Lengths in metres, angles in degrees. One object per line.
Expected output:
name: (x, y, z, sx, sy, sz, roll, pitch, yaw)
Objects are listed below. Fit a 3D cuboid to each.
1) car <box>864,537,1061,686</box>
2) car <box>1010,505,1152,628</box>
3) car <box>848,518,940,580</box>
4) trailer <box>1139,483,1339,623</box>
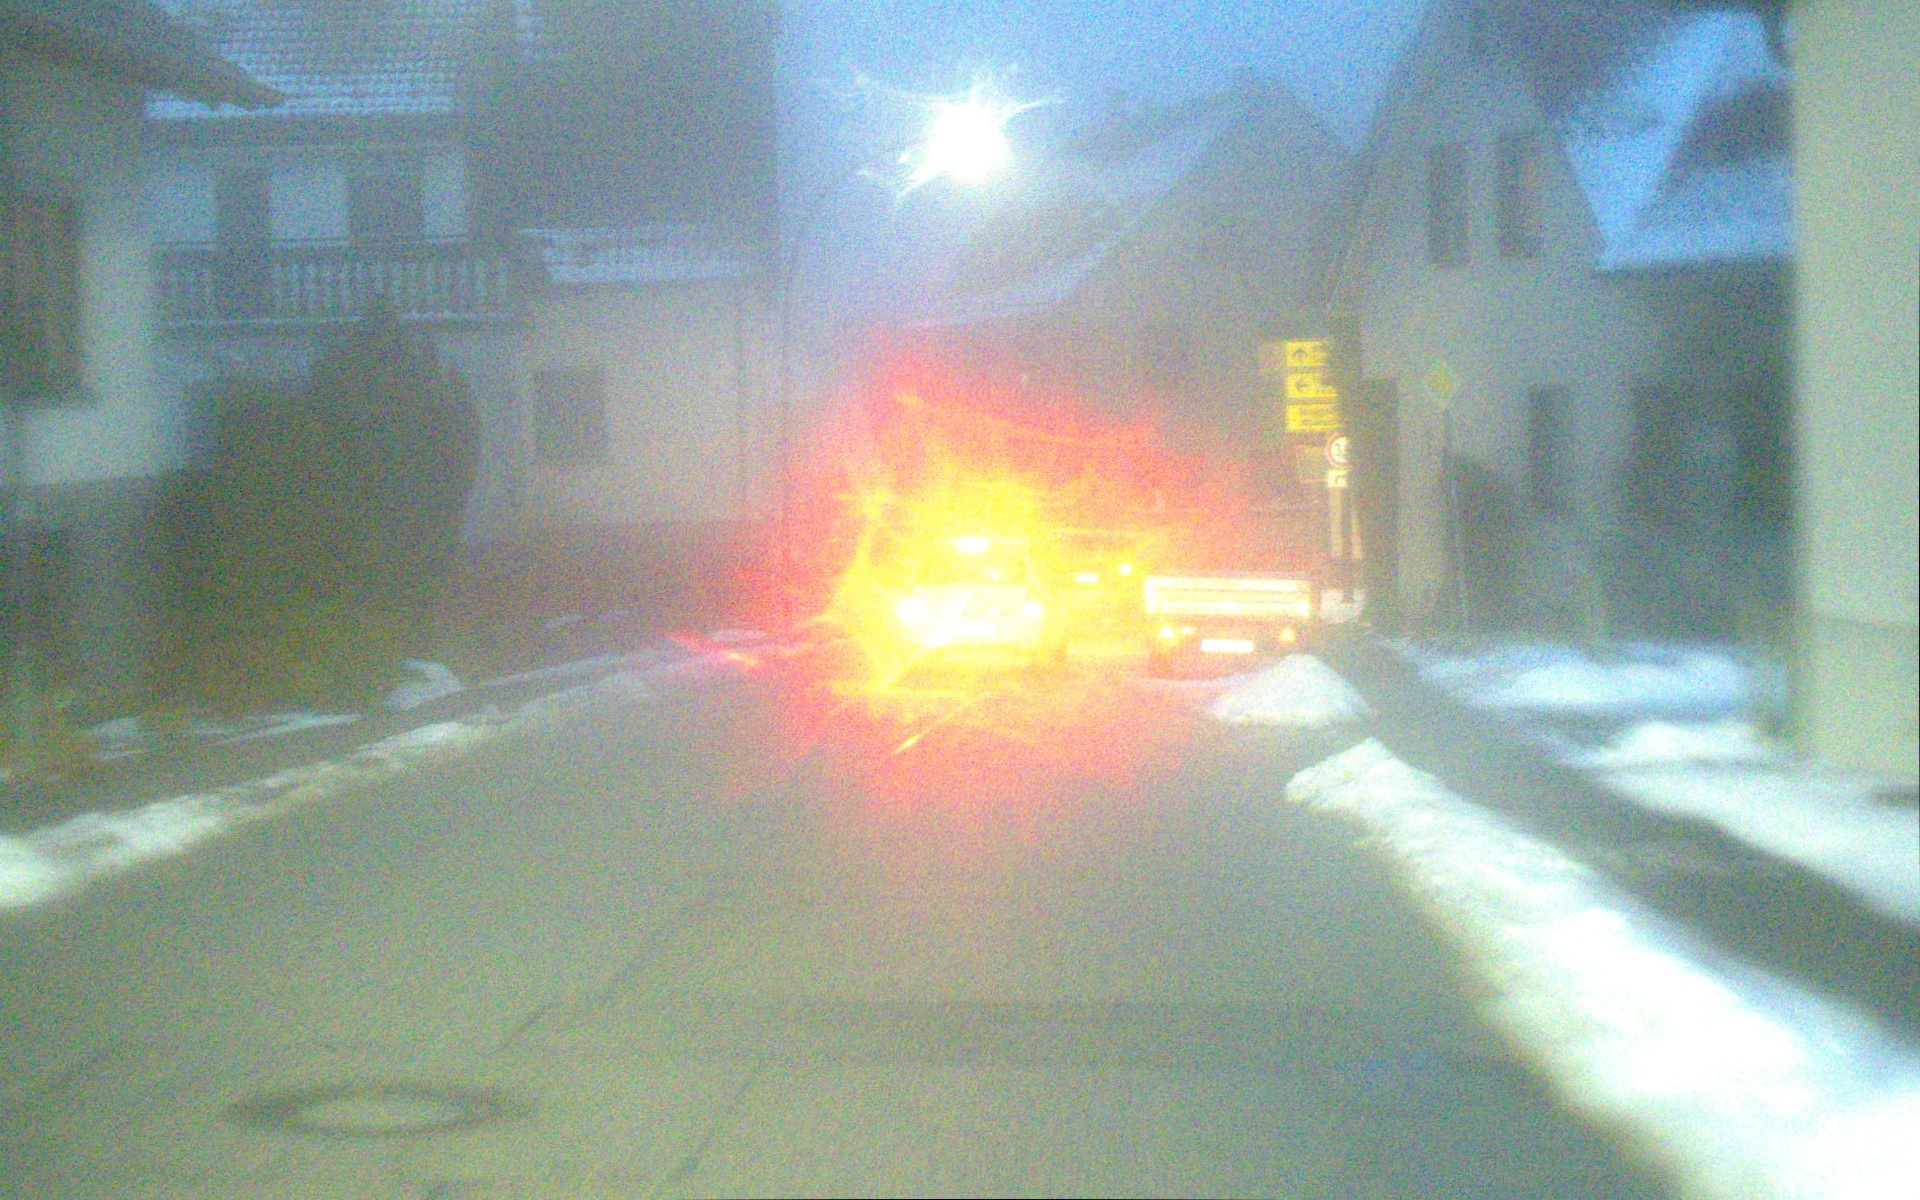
car: (0.085, 0.107, 37.181, 1.993, 1.503, 4.000, 1, 0, 2)
car: (1.755, -0.489, 50.748, 1.993, 1.722, 4.000, 1, 0, 1)
car: (-1.701, -1.318, 87.328, 1.910, 1.476, 4.283, -2, 2, -6)
trailer: (3.041, -0.540, 36.956, 1.994, 1.383, 4.731, 1, 2, 6)
